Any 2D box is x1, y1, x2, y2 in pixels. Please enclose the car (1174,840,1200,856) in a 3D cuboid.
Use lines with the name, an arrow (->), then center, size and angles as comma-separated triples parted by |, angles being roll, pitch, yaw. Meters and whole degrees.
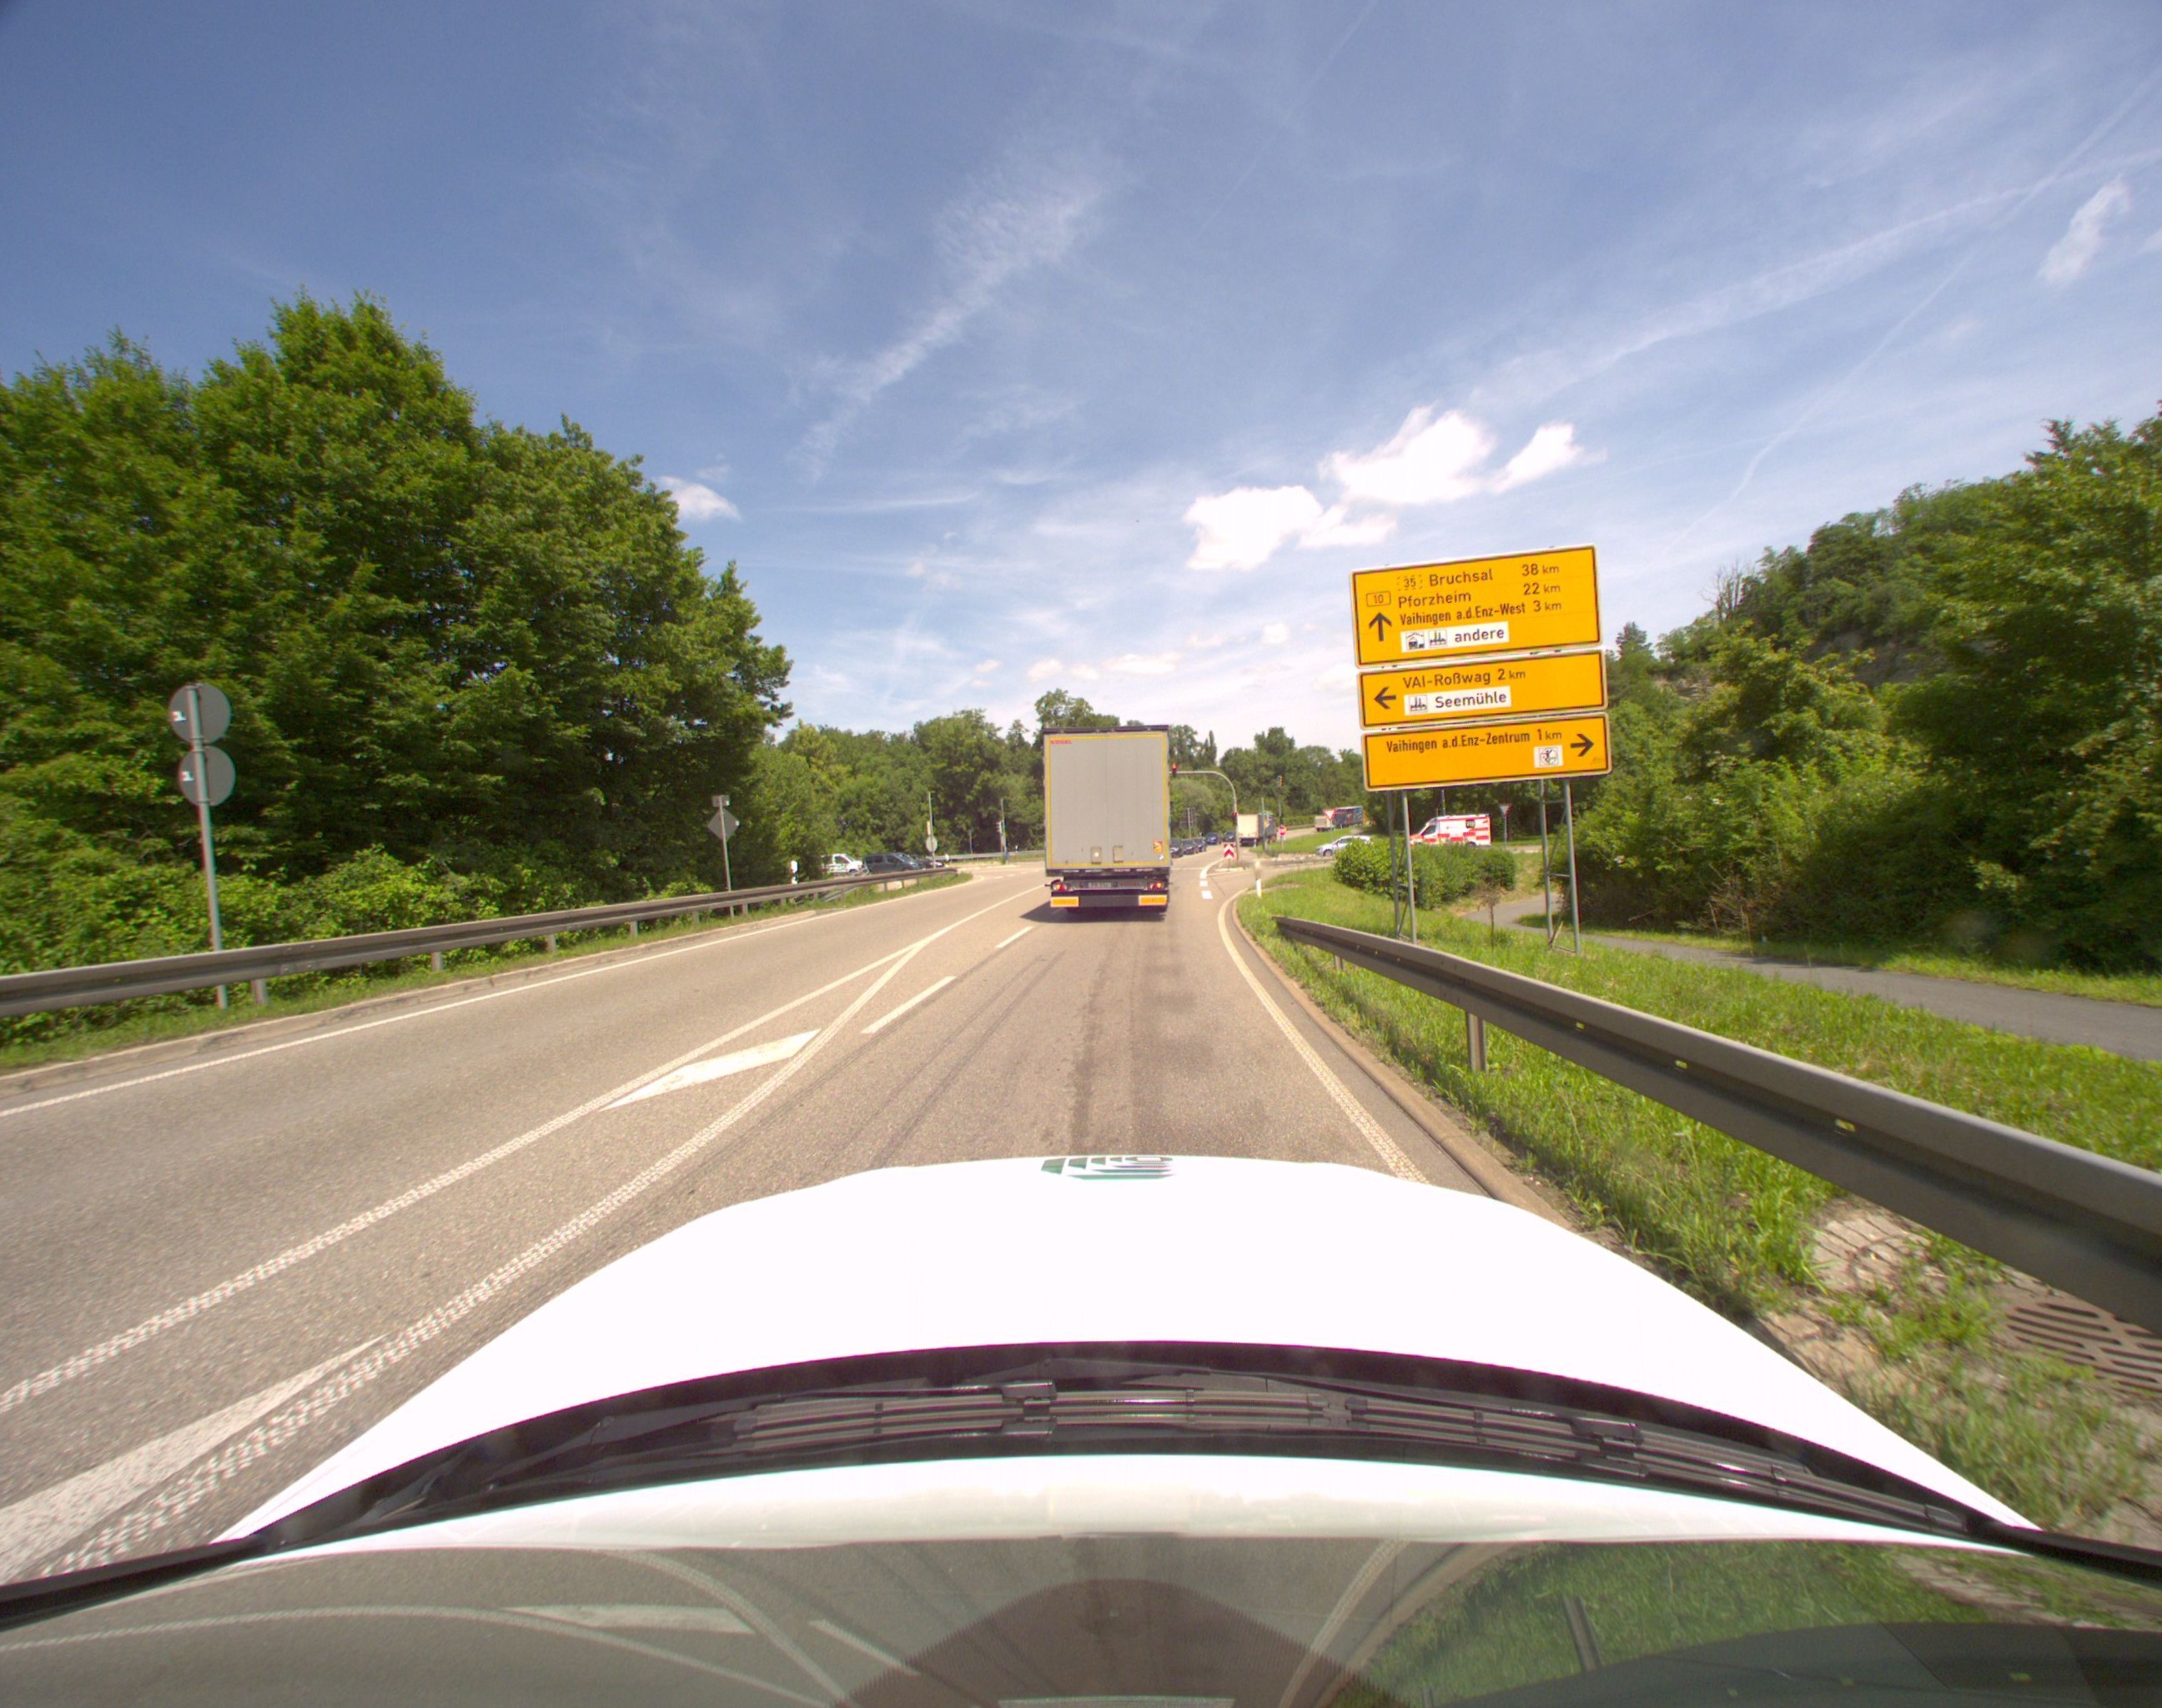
car -> 10.496, -0.574, 80.272 | 1.979, 1.491, 4.274 | -1, -1, 14

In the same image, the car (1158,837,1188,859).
car -> 8.229, -0.473, 72.383 | 1.979, 1.785, 4.960 | -1, -1, 13

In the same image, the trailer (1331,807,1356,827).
trailer -> 53.428, -7.502, 165.561 | 3.221, 3.685, 9.307 | -1, 1, 28

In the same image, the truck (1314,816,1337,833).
truck -> 45.394, -5.491, 151.136 | 2.828, 2.947, 7.148 | -1, 1, 28

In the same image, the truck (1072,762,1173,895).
truck -> 1.586, -0.853, 28.567 | 3.023, 4.033, 6.639 | -2, 1, 5

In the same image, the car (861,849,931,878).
car -> -12.637, 0.646, 55.695 | 4.202, 1.770, 2.008 | -2, 0, 15

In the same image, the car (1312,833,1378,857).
car -> 19.514, -0.639, 60.310 | 4.399, 1.718, 2.006 | -1, -1, 11

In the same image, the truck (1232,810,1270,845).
truck -> 21.754, -3.507, 103.585 | 3.153, 4.028, 11.805 | -1, 3, 19

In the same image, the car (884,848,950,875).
car -> -12.027, 0.541, 59.794 | 4.202, 1.770, 2.008 | -2, 0, 15

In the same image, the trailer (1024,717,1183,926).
trailer -> 1.007, -0.737, 22.366 | 3.037, 4.033, 12.578 | -2, 1, 5

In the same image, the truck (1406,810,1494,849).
truck -> 28.199, -1.795, 62.333 | 5.955, 2.728, 2.516 | -1, -1, 26

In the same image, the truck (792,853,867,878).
truck -> -18.314, 0.849, 59.457 | 4.870, 1.791, 2.039 | 0, -1, -7
